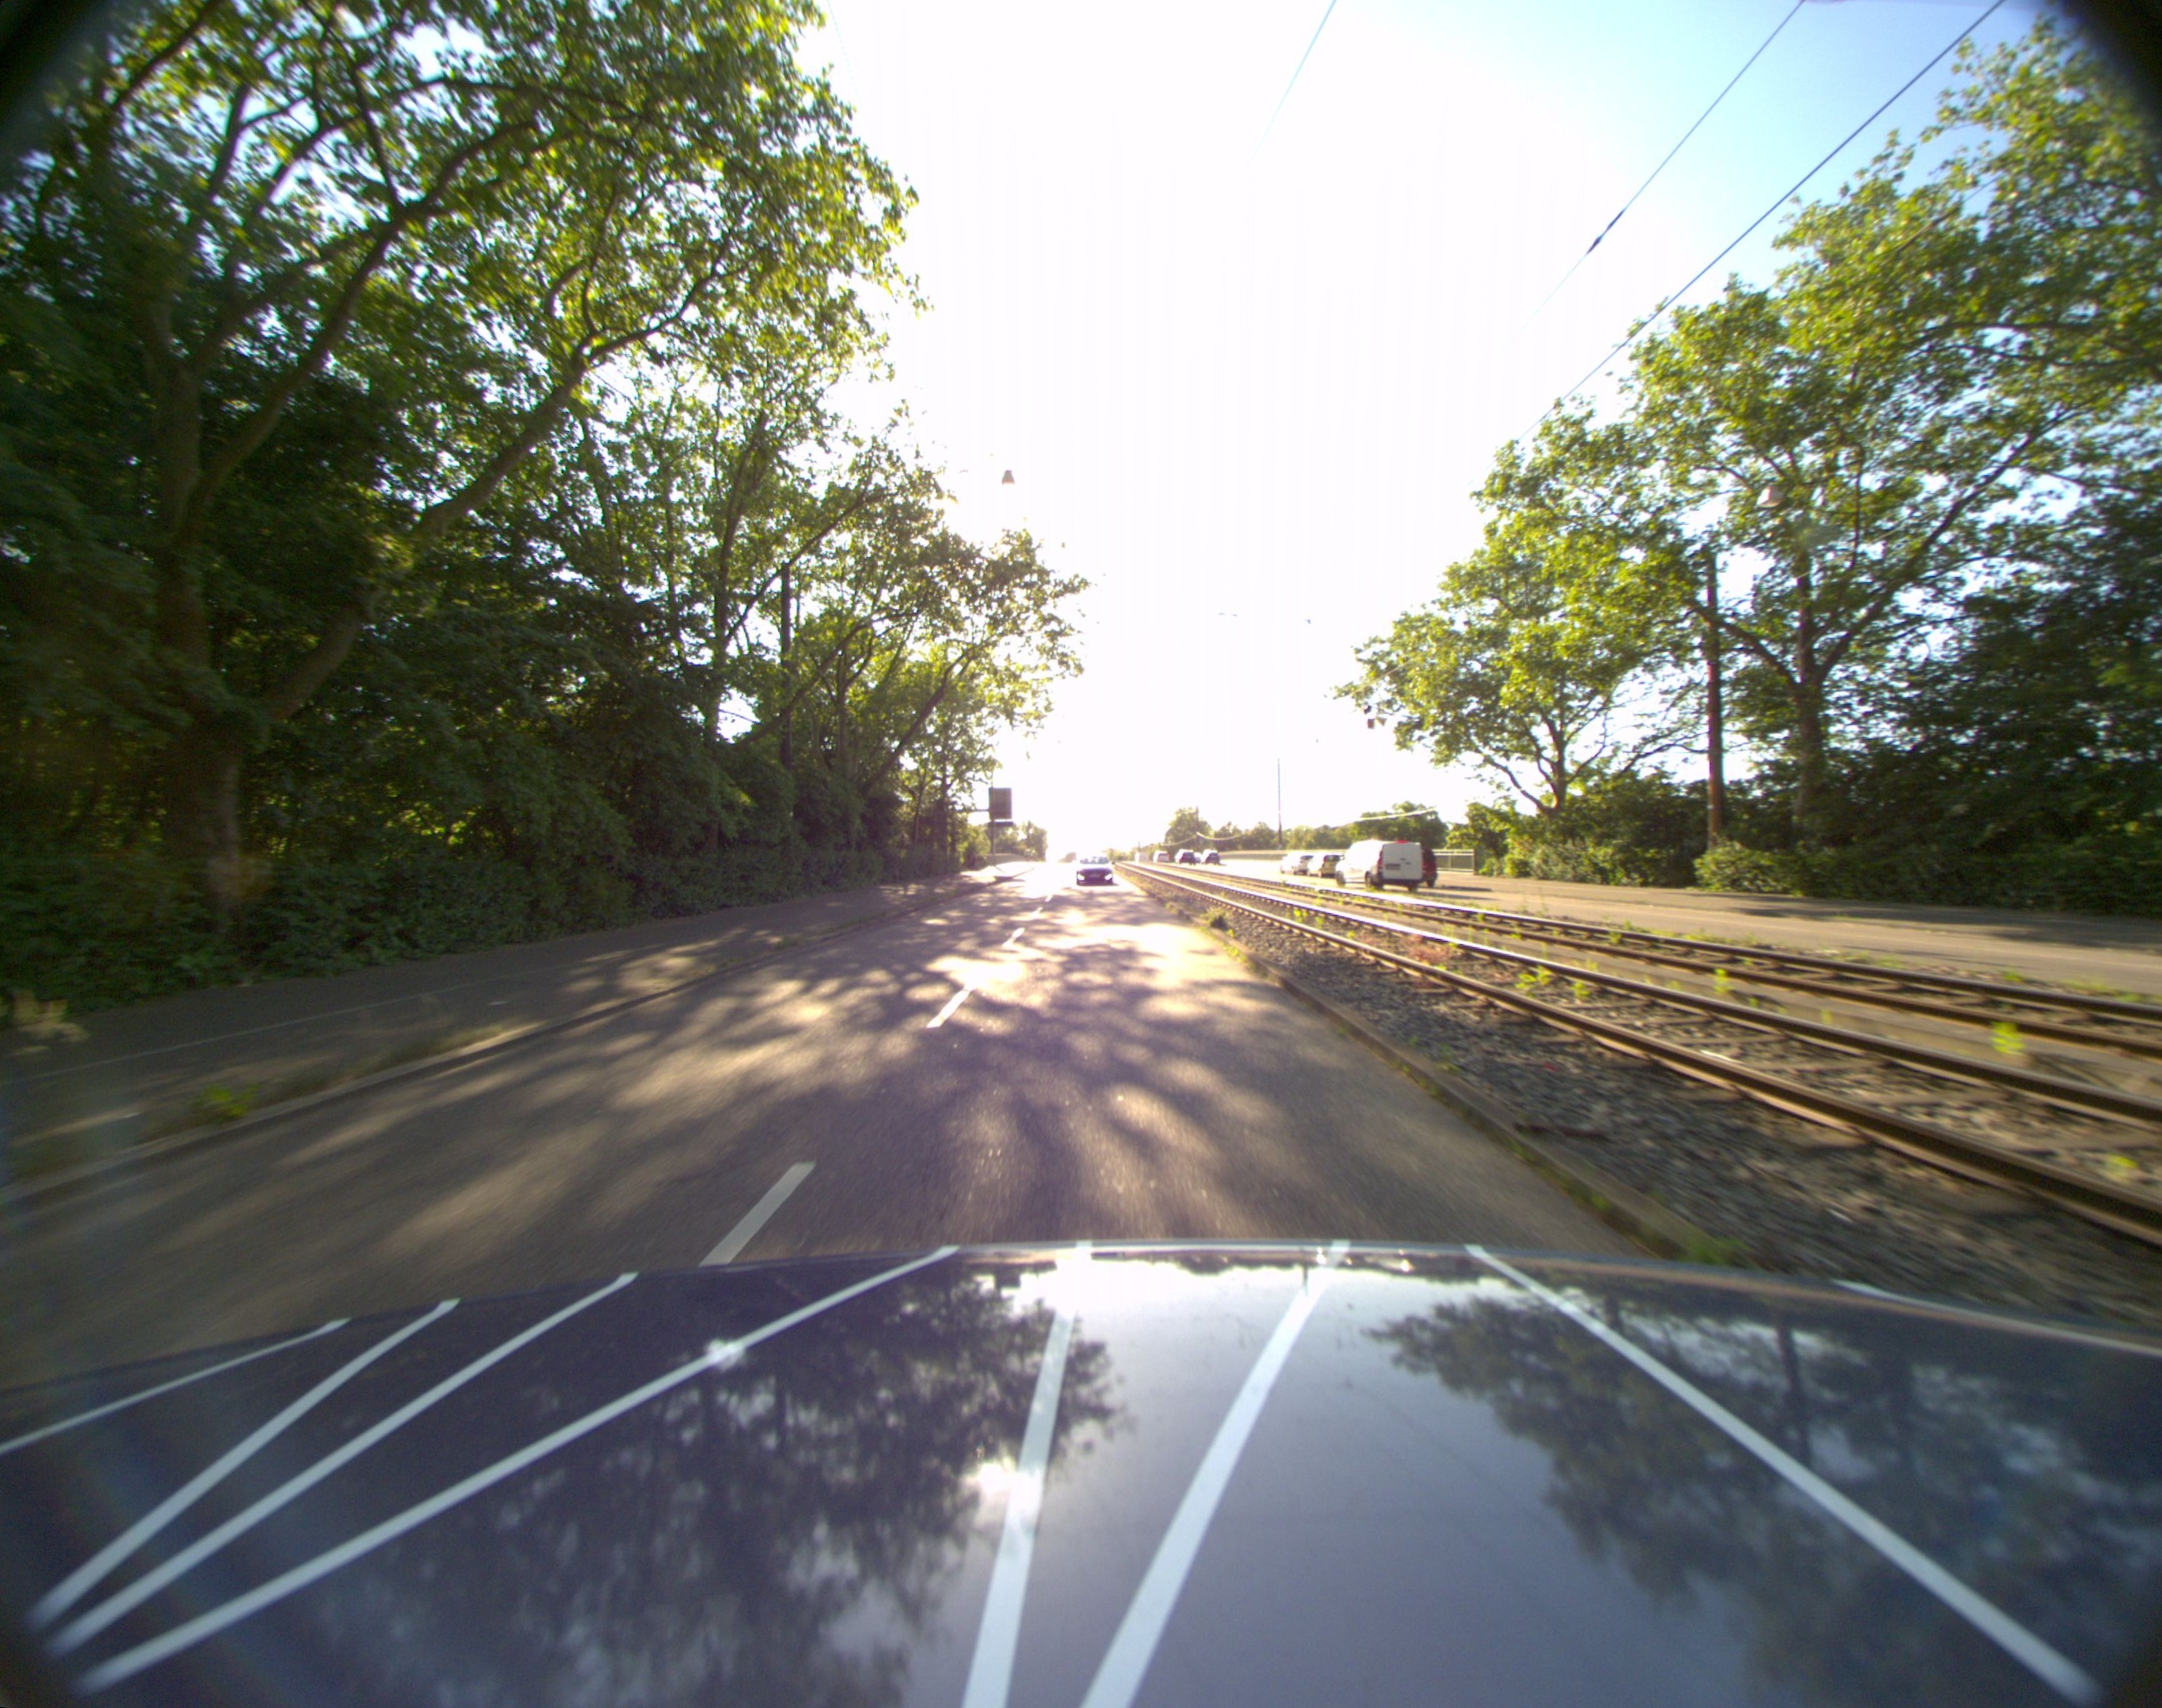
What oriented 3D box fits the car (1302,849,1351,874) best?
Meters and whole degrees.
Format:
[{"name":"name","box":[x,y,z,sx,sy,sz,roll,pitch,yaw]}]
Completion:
[{"name":"car","box":[15.034,0.457,46.693,1.658,1.434,3.784,1,1,-1]}]

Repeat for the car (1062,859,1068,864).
[{"name":"car","box":[-4.982,2.382,233.833,1.799,1.502,3.999,-2,1,0]}]

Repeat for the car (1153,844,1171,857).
[{"name":"car","box":[11.903,-0.510,111.944,1.988,1.841,4.961,1,1,-1]}]

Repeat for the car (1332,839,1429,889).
[{"name":"car","box":[11.911,0.347,30.634,1.831,1.841,5.035,1,1,-1]}]

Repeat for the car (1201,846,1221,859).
[{"name":"car","box":[15.104,-0.160,88.624,1.658,1.491,3.925,1,1,0]}]

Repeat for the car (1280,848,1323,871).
[{"name":"car","box":[15.039,0.348,52.093,1.658,1.491,3.924,1,1,-2]}]

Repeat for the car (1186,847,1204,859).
[{"name":"car","box":[14.968,-0.181,99.881,1.658,1.491,3.924,1,1,0]}]

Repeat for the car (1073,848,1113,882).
[{"name":"car","box":[0.562,0.496,37.031,1.799,1.501,4.000,-2,0,0]}]

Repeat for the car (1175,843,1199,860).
[{"name":"car","box":[11.779,-0.260,84.763,1.988,1.841,4.961,1,1,-1]}]

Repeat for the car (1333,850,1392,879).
[{"name":"car","box":[15.214,0.532,41.208,1.658,1.434,3.784,1,1,-2]}]
